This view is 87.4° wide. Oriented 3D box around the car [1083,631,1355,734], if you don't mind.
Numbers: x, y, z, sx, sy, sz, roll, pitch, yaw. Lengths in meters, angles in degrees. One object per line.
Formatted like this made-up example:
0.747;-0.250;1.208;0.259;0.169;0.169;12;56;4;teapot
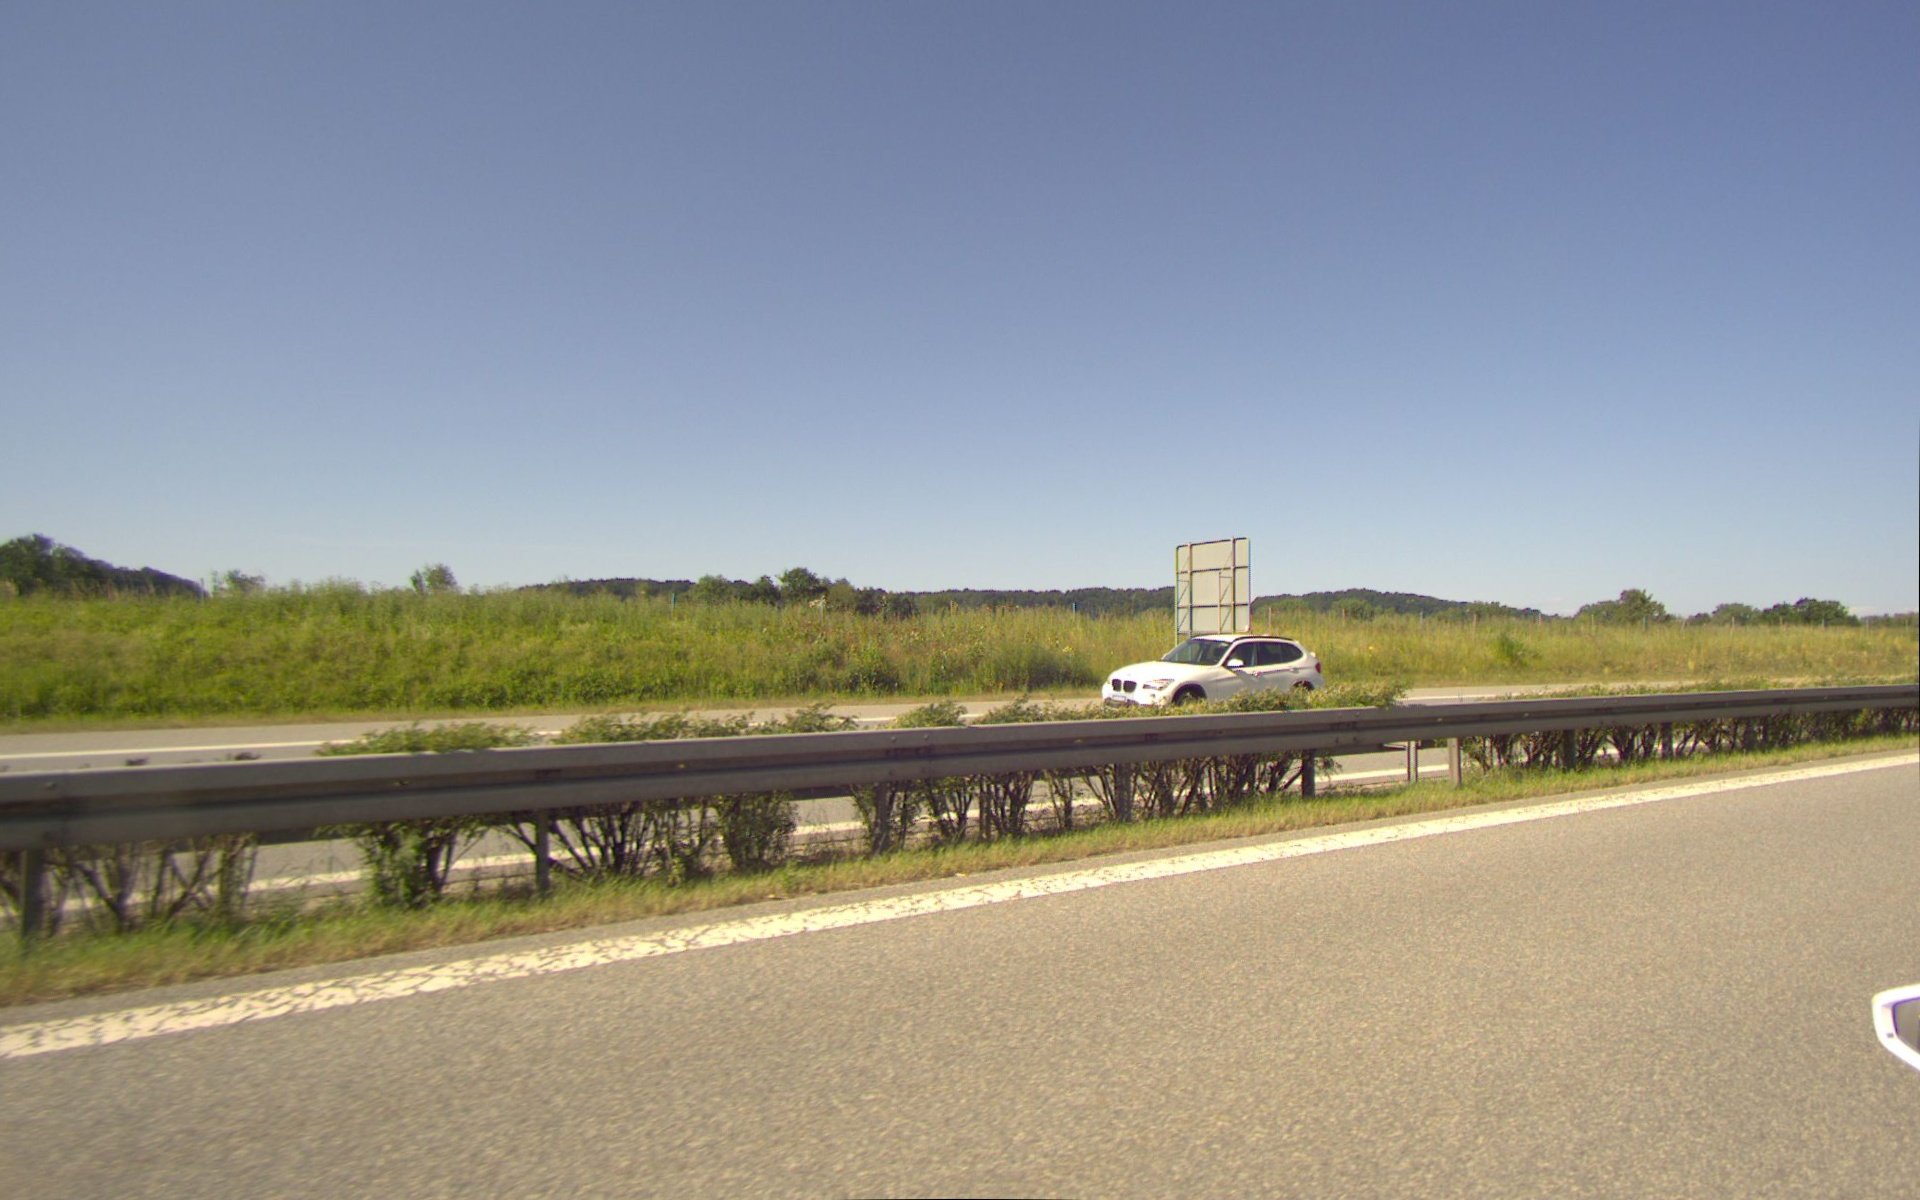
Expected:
4.757;1.427;18.211;4.949;1.644;1.758;1;-4;-30;car
